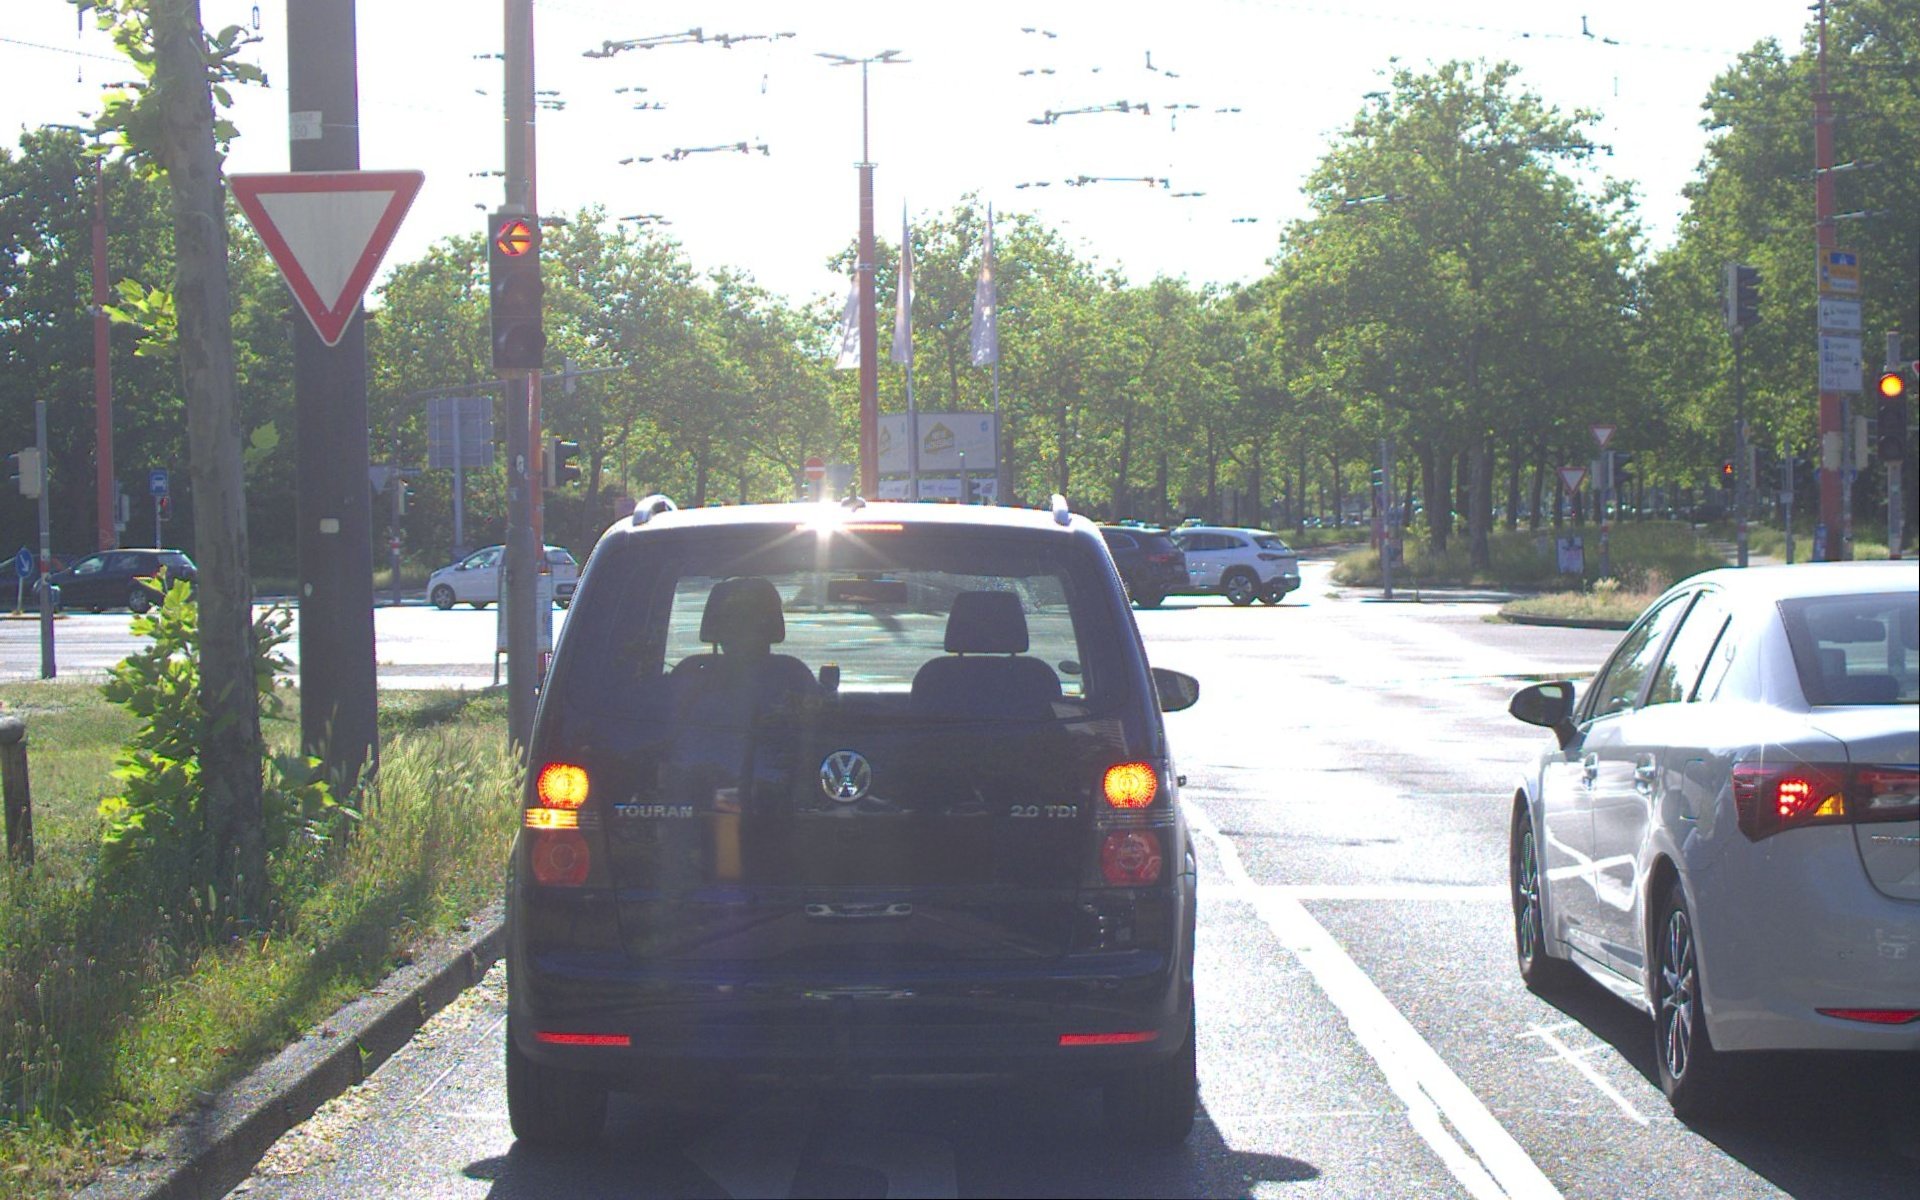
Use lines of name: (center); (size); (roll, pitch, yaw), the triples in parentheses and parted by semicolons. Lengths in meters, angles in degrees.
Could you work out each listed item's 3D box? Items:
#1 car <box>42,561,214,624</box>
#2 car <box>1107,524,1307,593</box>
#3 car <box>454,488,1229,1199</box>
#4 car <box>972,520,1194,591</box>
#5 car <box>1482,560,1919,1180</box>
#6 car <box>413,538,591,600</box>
car: (-19.277, -0.186, 79.597); (3.798, 1.398, 1.654); (1, 1, 31)
car: (5.116, -0.868, 71.328); (3.798, 1.398, 1.654); (1, 1, 32)
car: (-0.251, 0.536, 9.967); (1.738, 1.597, 4.326); (1, 1, 1)
car: (2.467, -0.904, 69.035); (4.124, 1.398, 1.655); (1, 1, 23)
car: (2.759, 0.616, 10.145); (1.799, 1.435, 4.326); (1, 1, 1)
car: (-10.610, -0.731, 79.610); (3.797, 1.398, 1.654); (1, 1, 26)
